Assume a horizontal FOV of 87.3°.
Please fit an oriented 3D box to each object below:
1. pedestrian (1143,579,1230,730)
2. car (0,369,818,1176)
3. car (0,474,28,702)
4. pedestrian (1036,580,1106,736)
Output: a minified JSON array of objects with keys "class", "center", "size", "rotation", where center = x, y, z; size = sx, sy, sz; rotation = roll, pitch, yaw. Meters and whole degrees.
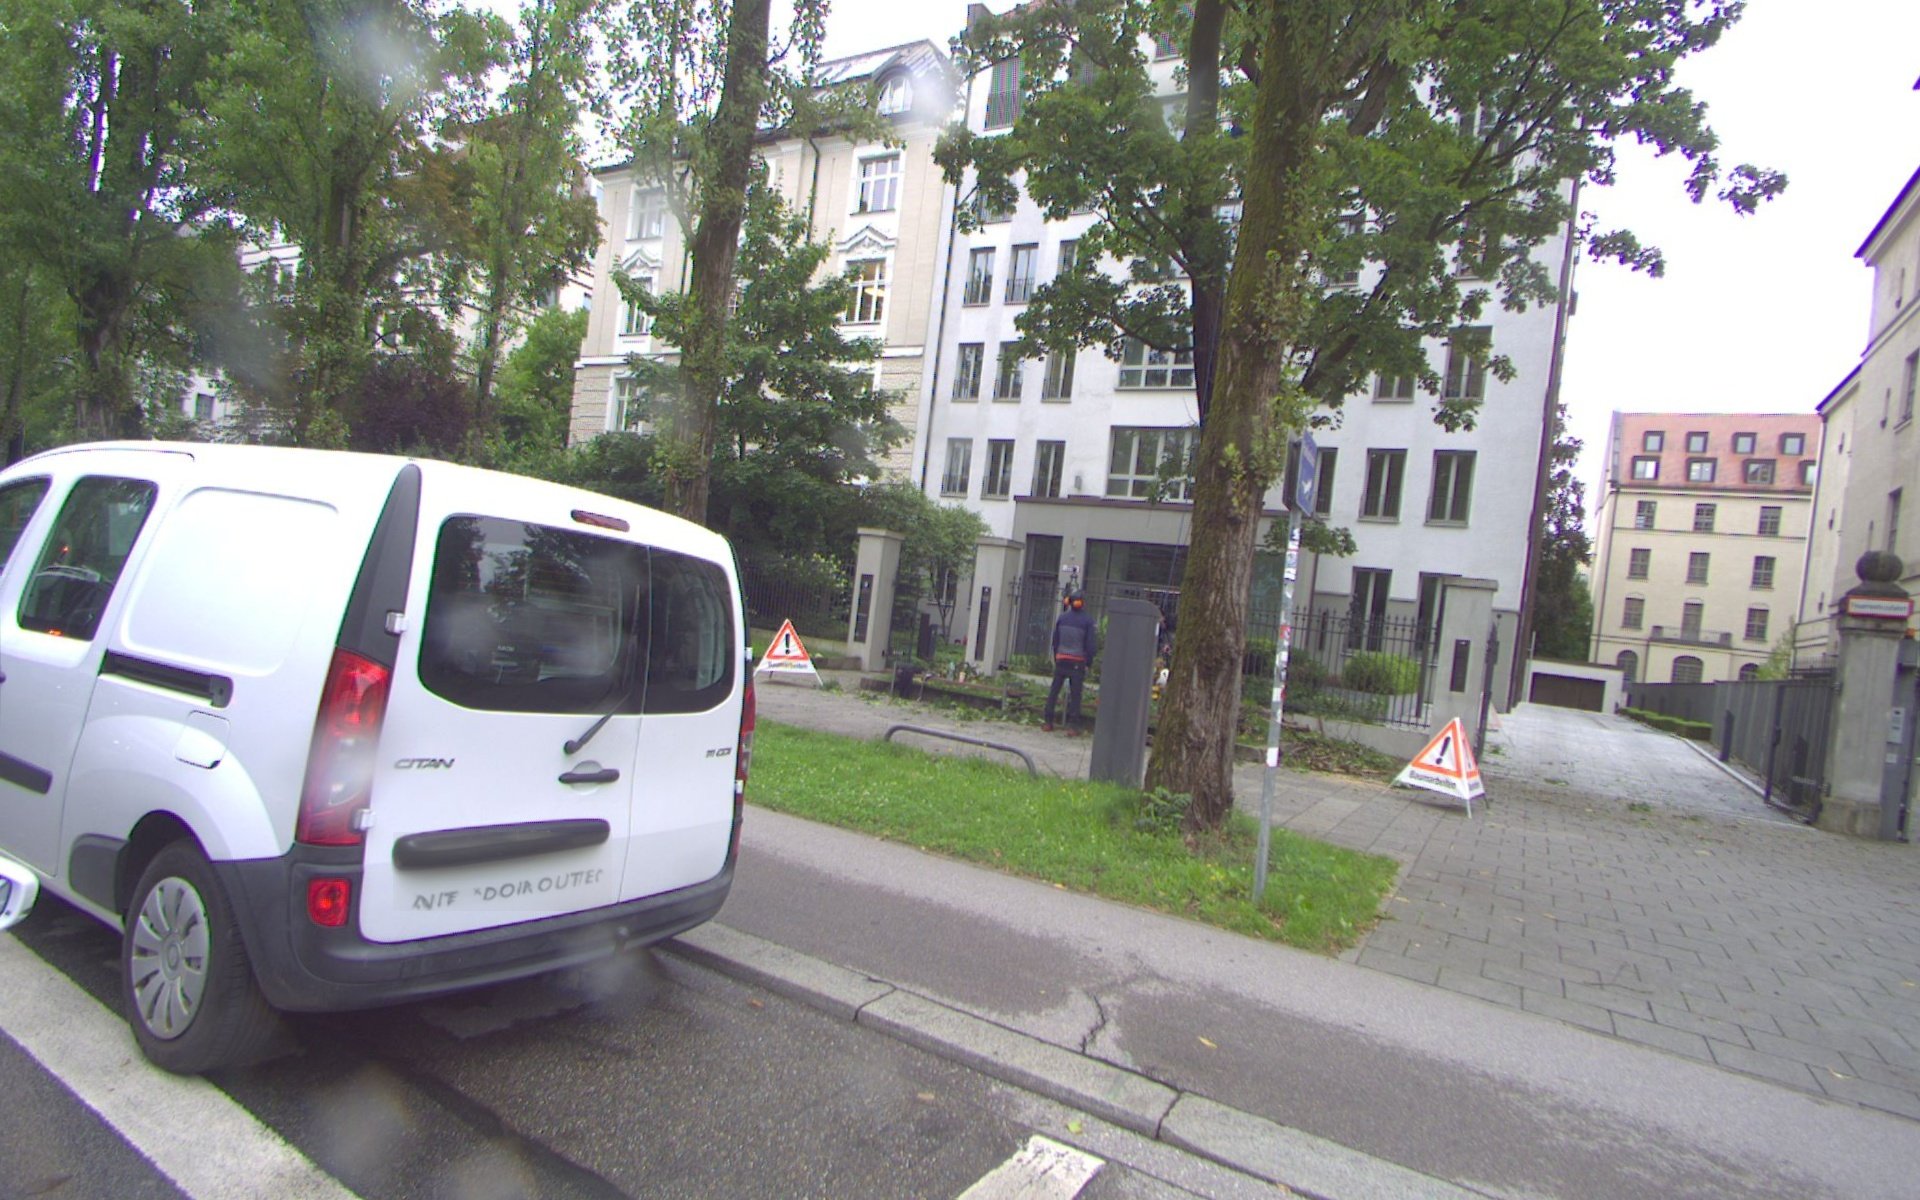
[{"class":"pedestrian","center":[2.991,0.709,13.398],"size":[0.814,1.823,0.904],"rotation":[9,2,10]},{"class":"car","center":[-2.879,0.257,4.188],"size":[4.097,1.904,1.854],"rotation":[7,0,30]},{"class":"car","center":[-8.960,-0.353,7.526],"size":[4.141,1.612,1.743],"rotation":[7,0,31]},{"class":"pedestrian","center":[1.422,0.732,12.812],"size":[0.626,1.886,0.488],"rotation":[7,1,14]}]
